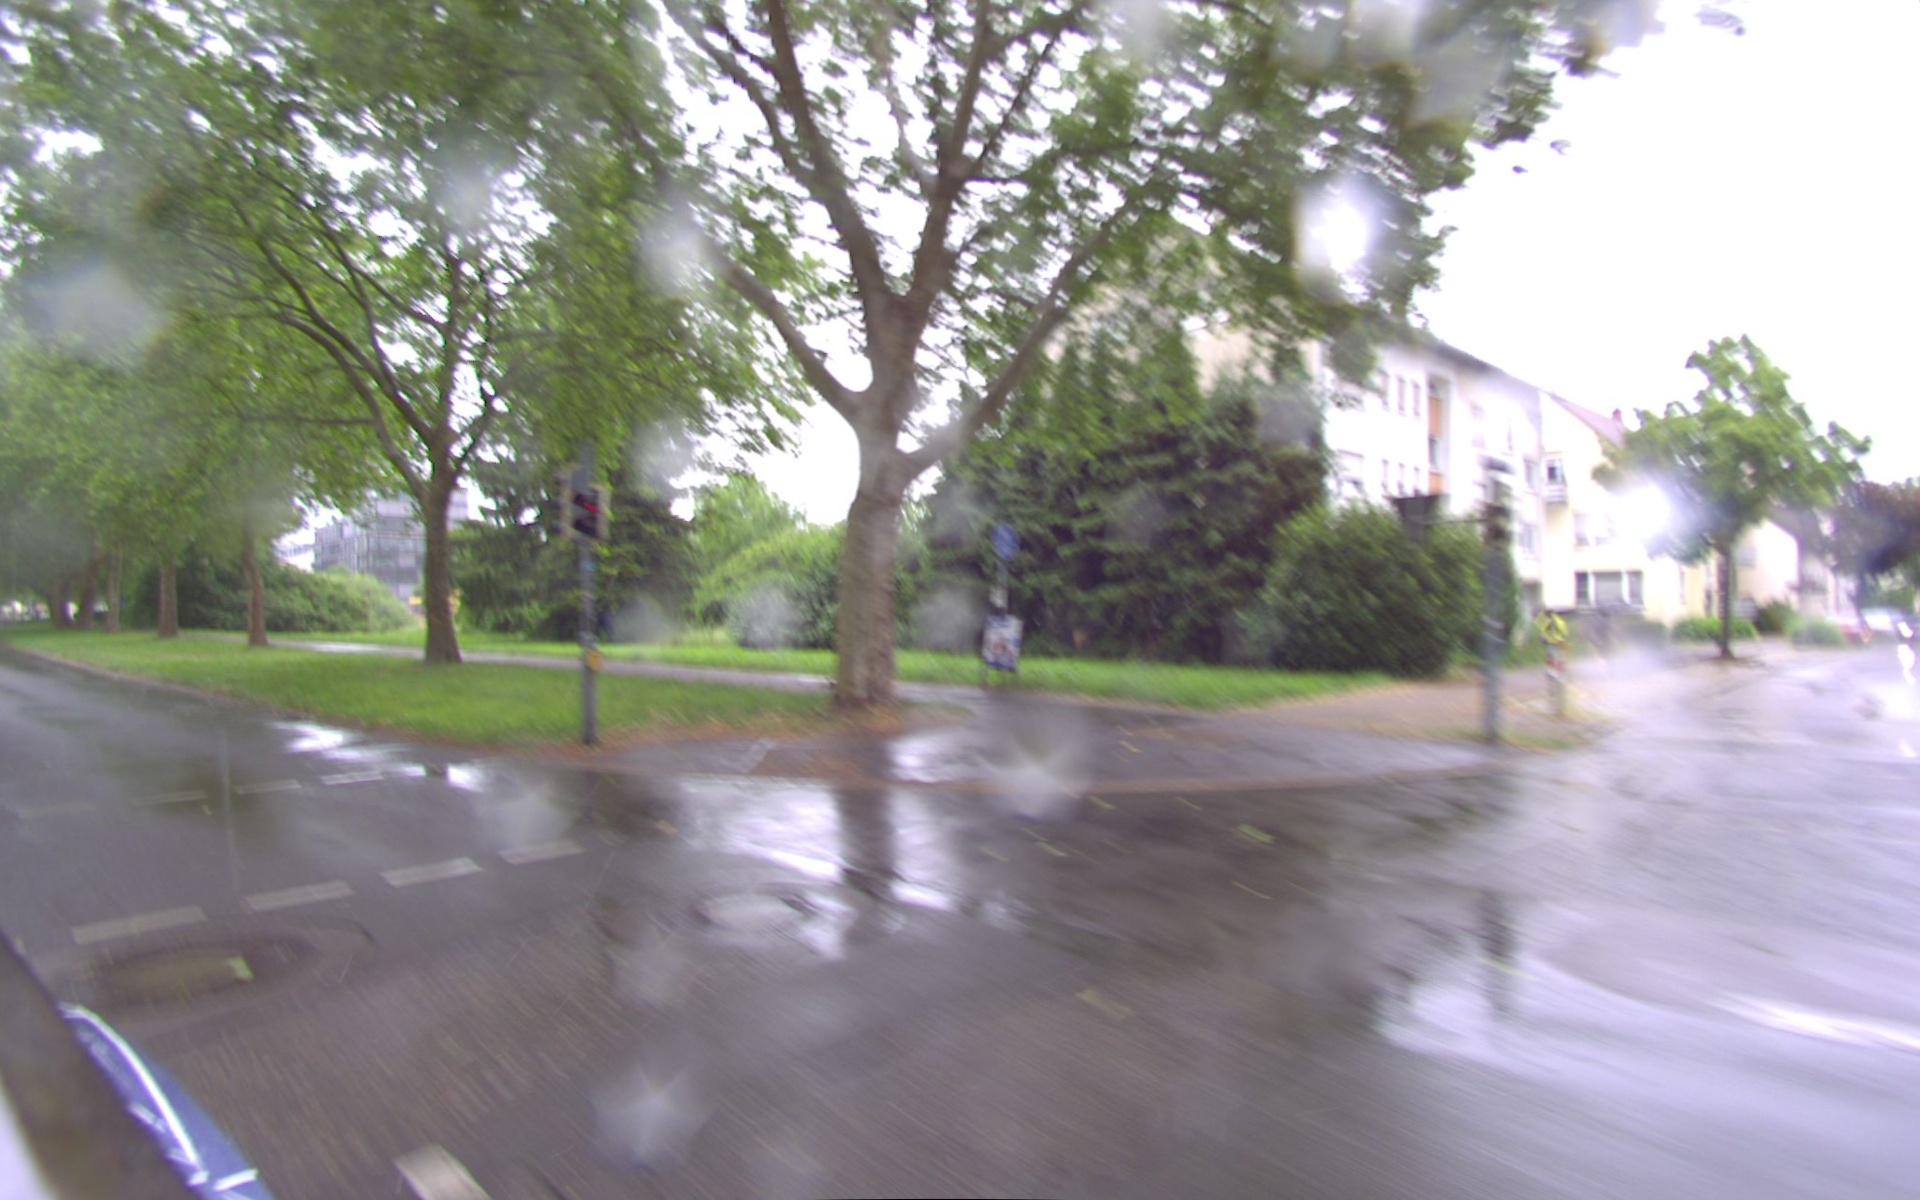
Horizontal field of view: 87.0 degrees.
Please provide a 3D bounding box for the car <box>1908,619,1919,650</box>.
[{"bbox_3d":[45.775,1.611,47.628,3.677,1.383,1.528,0,-1,-44],"label":"car"}]

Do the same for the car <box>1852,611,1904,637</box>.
[{"bbox_3d":[50.345,1.285,55.509,3.674,1.383,1.695,0,-1,-41],"label":"car"}]

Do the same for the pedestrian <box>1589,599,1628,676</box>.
[{"bbox_3d":[15.242,0.867,23.786,0.639,1.758,0.850,-1,-1,41],"label":"pedestrian"}]

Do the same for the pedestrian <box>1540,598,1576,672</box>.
[{"bbox_3d":[14.567,0.846,24.658,0.639,1.758,0.586,-1,-1,41],"label":"pedestrian"}]

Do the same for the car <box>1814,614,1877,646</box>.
[{"bbox_3d":[40.335,1.345,46.068,3.674,1.383,1.695,0,-1,-41],"label":"car"}]
